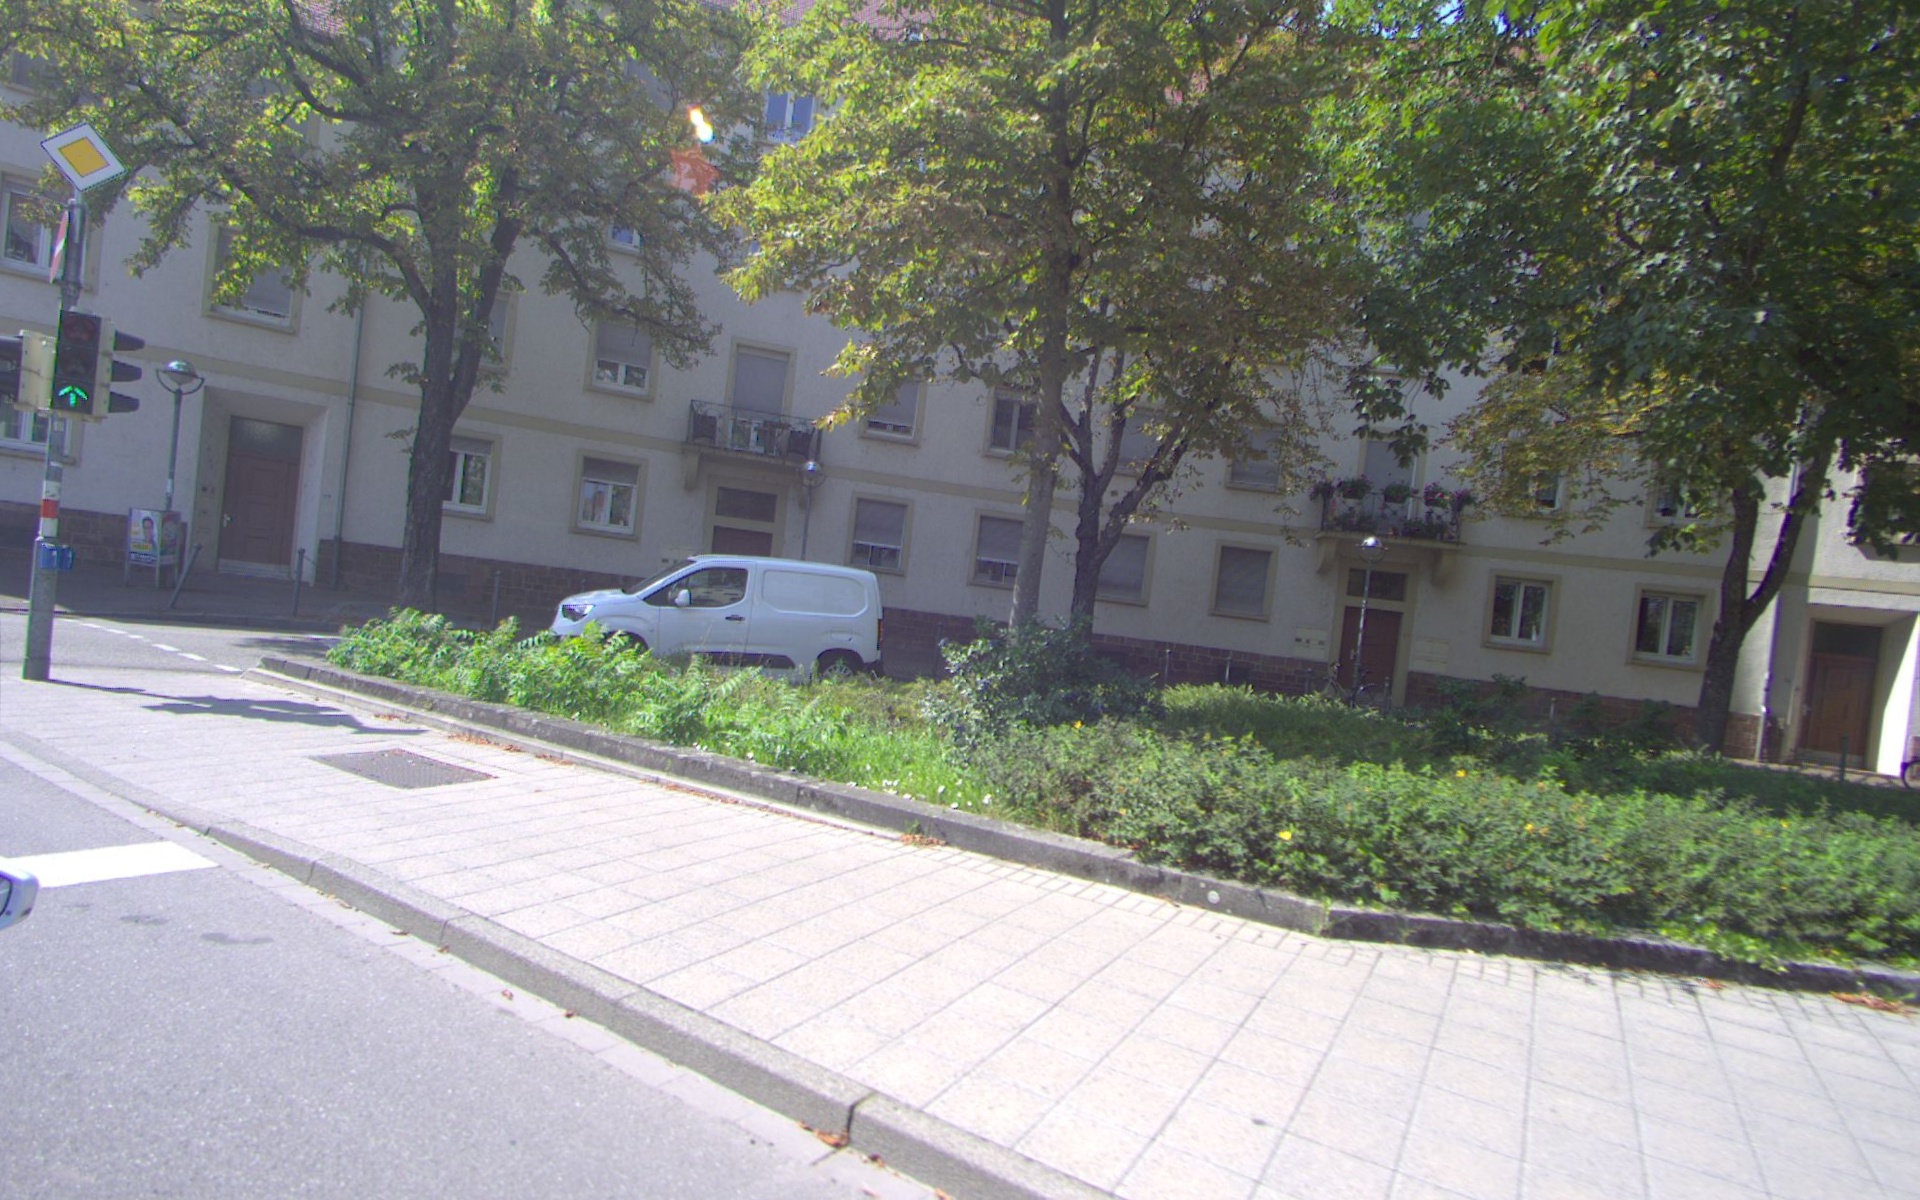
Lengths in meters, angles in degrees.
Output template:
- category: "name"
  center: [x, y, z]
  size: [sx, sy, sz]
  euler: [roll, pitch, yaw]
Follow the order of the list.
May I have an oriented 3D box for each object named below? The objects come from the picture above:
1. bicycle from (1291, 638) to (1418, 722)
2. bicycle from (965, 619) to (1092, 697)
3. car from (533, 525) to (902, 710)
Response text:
- category: "bicycle"
  center: [8.260, 1.668, 21.185]
  size: [2.310, 1.426, 0.892]
  euler: [6, -1, 19]
- category: "bicycle"
  center: [1.299, 1.070, 18.988]
  size: [2.226, 1.141, 0.810]
  euler: [7, 3, 8]
- category: "car"
  center: [-3.190, 0.263, 13.439]
  size: [4.353, 1.834, 1.796]
  euler: [7, 0, -20]
